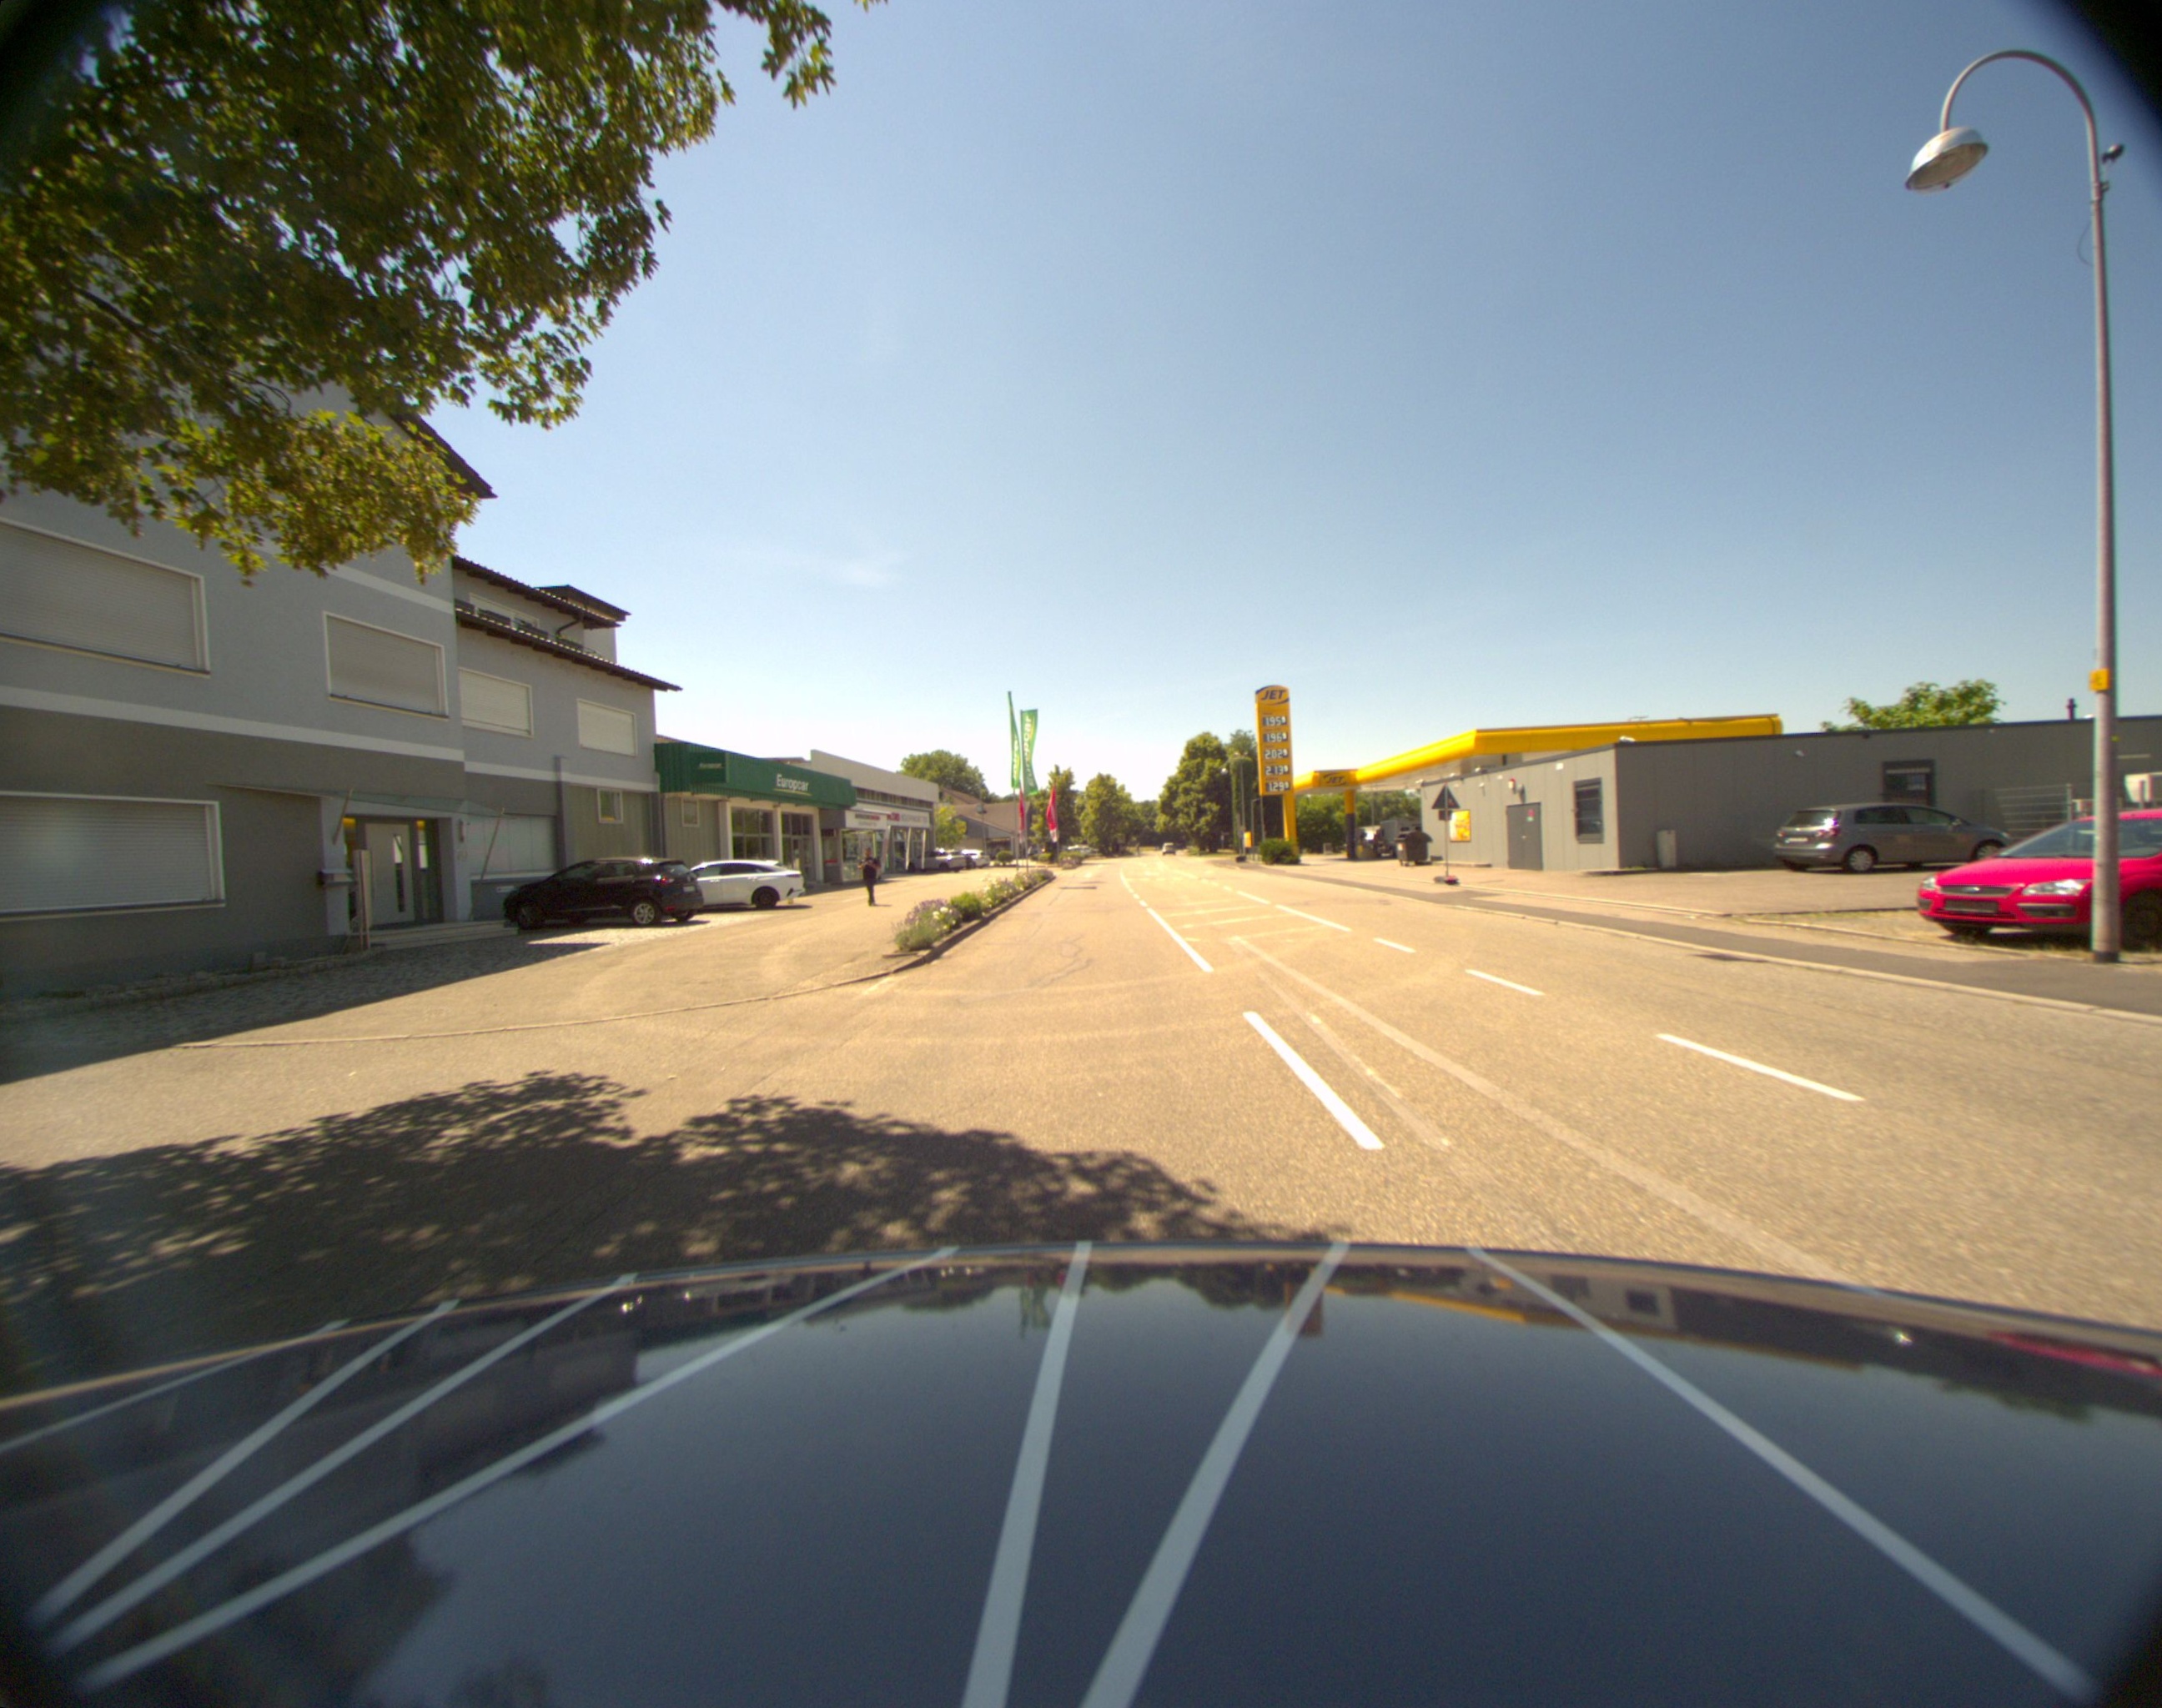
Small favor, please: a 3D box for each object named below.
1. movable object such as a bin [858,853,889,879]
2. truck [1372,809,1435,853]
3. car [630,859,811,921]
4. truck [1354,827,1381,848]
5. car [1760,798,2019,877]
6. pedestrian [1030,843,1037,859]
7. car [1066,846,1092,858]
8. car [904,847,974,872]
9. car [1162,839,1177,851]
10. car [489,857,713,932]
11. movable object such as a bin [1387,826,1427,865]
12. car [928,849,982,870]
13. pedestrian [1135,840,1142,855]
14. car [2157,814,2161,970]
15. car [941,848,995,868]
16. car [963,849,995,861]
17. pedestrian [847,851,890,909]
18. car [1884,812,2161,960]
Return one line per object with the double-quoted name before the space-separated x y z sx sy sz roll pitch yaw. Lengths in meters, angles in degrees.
"movable object such as a bin" -11.625 0.654 42.577 1.566 1.414 0.702 0 1 9
"truck" 20.943 -1.474 49.693 2.237 2.584 6.735 -2 1 9
"car" -9.986 0.944 21.442 4.361 1.363 1.952 -3 1 -21
"truck" 42.901 -2.507 113.966 2.437 2.911 8.170 -3 1 12
"car" 18.655 -0.380 17.695 3.996 1.575 1.754 -2 1 4
"pedestrian" -6.218 -0.394 99.977 0.784 2.002 0.803 -2 2 5
"car" -0.224 -0.287 101.581 3.405 1.498 1.582 -2 0 3
"car" -10.408 0.423 55.703 4.586 1.632 2.002 -2 2 21
"car" 12.577 -1.235 107.503 1.973 1.663 4.250 -2 0 7
"car" -10.944 0.887 17.536 3.997 1.542 1.797 -1 1 1
"movable object such as a bin" 13.723 -0.342 32.046 0.954 1.508 1.428 -7 0 2
"car" -10.101 0.455 61.012 3.859 1.524 1.680 -1 2 20
"pedestrian" 7.266 -0.811 95.742 0.730 1.779 0.621 -2 2 15
"car" 11.891 0.291 6.176 3.673 1.449 1.892 -3 1 -1
"car" -9.368 0.330 63.064 3.992 1.452 1.807 -2 2 17
"car" -12.919 0.132 96.413 3.604 1.409 1.672 -3 1 6
"pedestrian" -6.198 0.742 22.163 0.842 1.632 1.010 -1 2 6
"car" 12.201 0.265 8.663 4.136 1.436 1.826 -2 1 1
